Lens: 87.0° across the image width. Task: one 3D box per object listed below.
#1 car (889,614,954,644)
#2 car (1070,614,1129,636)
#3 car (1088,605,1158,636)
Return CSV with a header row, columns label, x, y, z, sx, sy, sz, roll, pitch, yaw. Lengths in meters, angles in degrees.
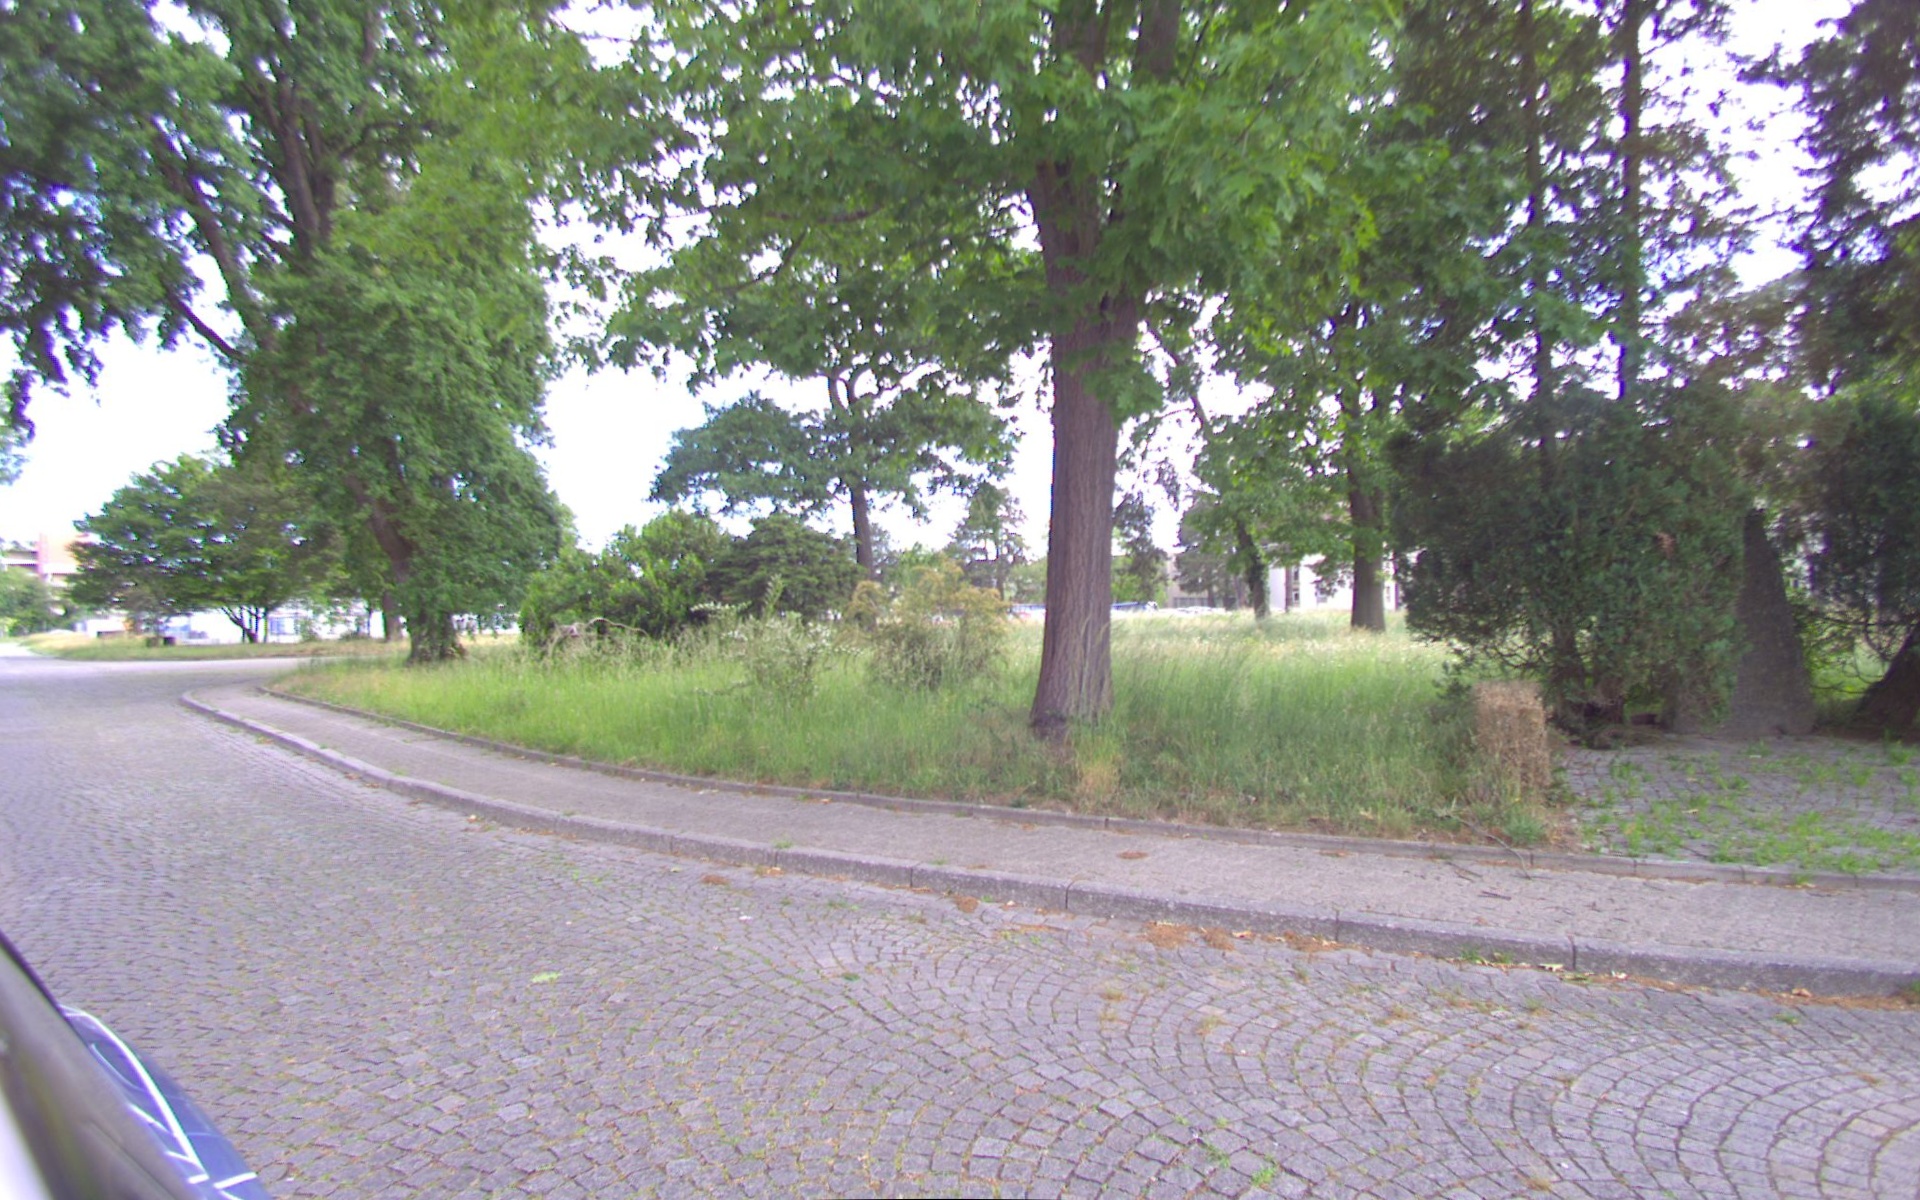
label,x,y,z,sx,sy,sz,roll,pitch,yaw
car,-2.172,1.617,56.534,3.501,1.493,1.579,-4,-3,45
car,9.399,1.693,68.240,3.696,1.349,1.561,-4,-3,45
car,11.246,1.419,69.904,4.547,1.916,1.767,-4,-3,45
